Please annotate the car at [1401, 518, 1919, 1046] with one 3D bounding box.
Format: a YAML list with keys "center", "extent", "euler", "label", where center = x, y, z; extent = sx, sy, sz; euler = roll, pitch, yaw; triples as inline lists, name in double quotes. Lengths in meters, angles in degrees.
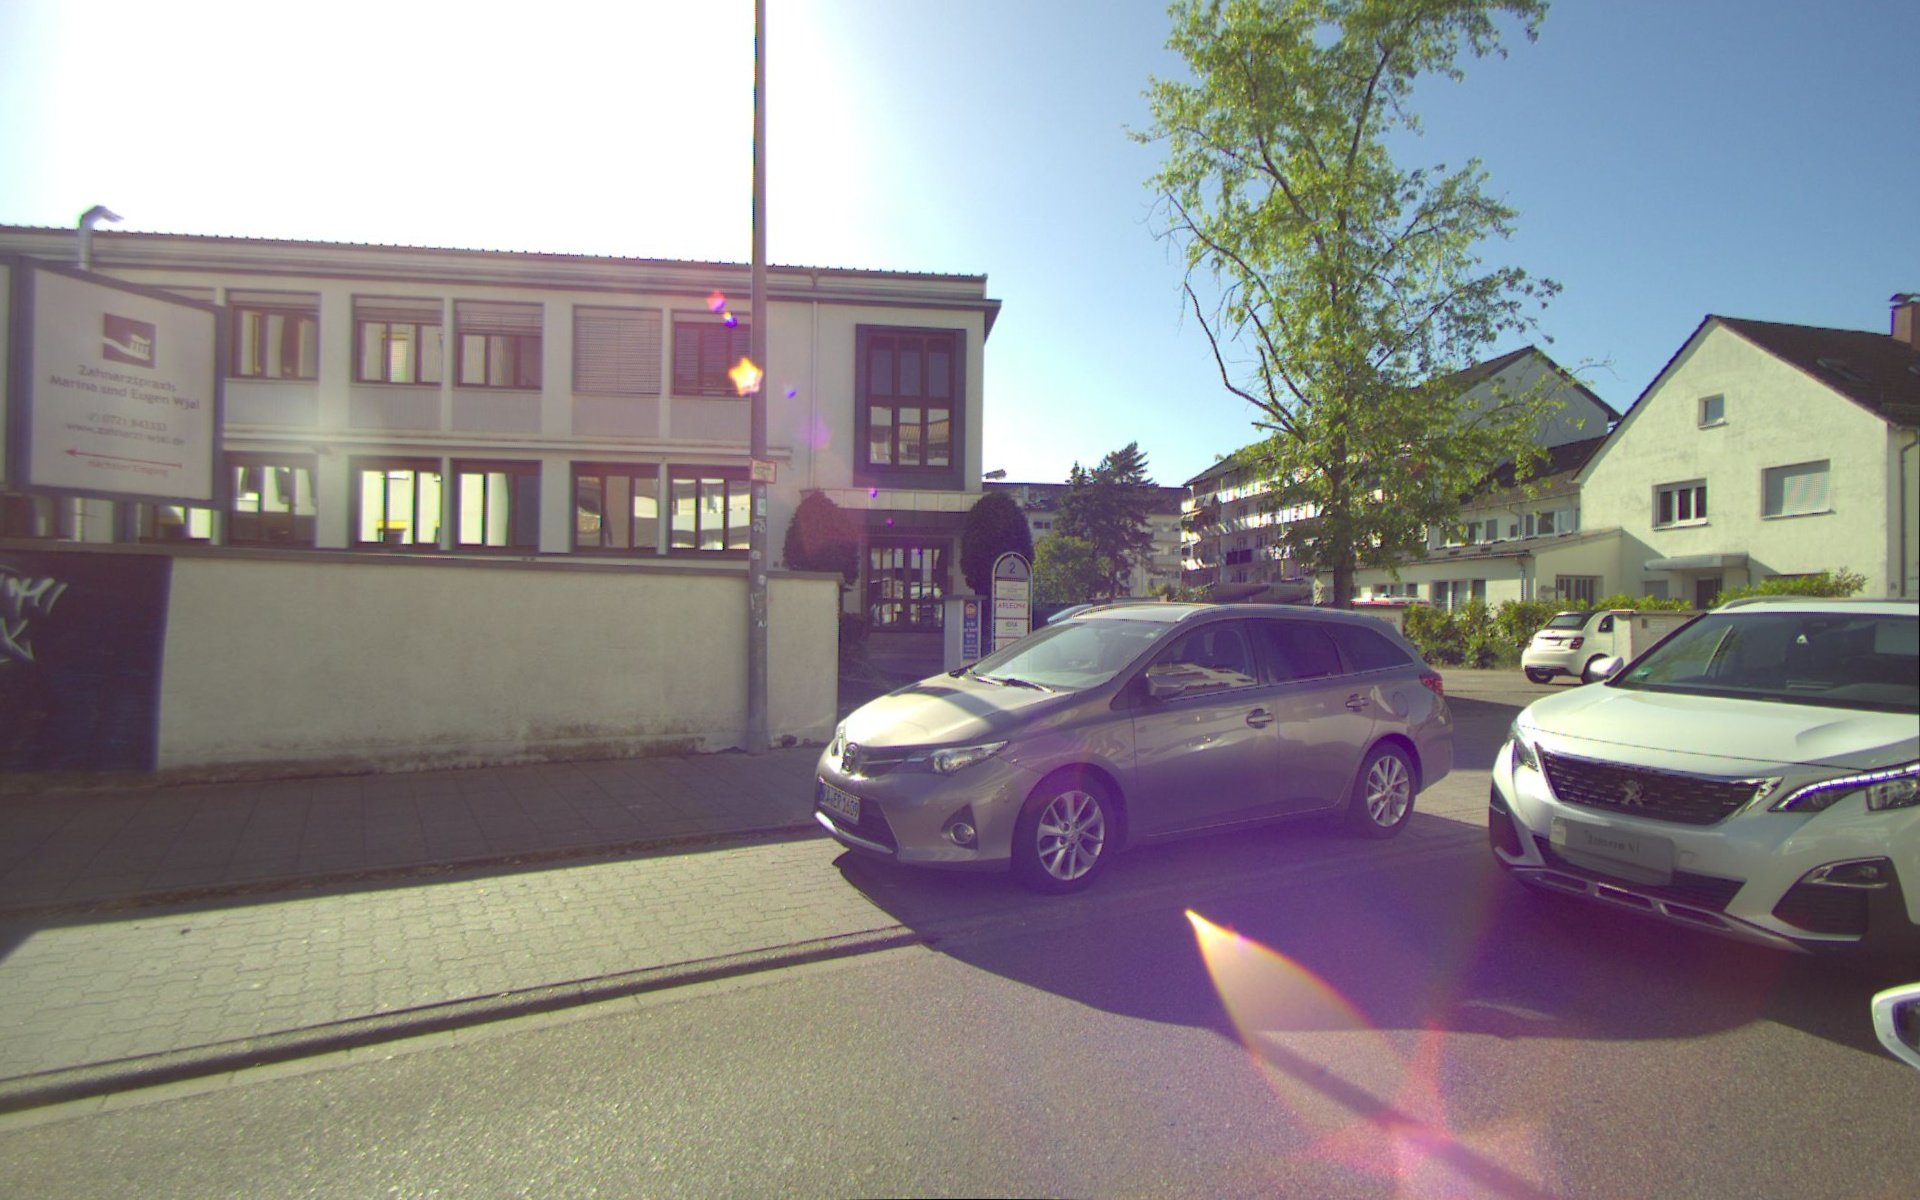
- center: [4.554, 0.747, 5.208]
  extent: [4.284, 1.747, 1.911]
  euler: [4, -3, -28]
  label: "car"

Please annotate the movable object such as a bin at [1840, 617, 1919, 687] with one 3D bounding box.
- center: [21.095, 1.175, 22.758]
  extent: [1.207, 1.509, 1.283]
  euler: [3, -2, -15]
  label: "movable object such as a bin"

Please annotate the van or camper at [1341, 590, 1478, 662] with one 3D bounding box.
- center: [16.643, 1.024, 37.540]
  extent: [2.111, 2.429, 5.228]
  euler: [2, -3, -9]
  label: "van or camper"

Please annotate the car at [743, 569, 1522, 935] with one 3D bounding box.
- center: [1.286, 0.694, 6.425]
  extent: [4.864, 1.555, 1.982]
  euler: [1, -1, -32]
  label: "car"

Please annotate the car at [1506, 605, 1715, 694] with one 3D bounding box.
- center: [13.141, 1.004, 20.405]
  extent: [3.130, 1.576, 1.804]
  euler: [3, -2, -8]
  label: "car"

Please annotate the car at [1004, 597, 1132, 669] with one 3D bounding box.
- center: [2.540, 0.830, 23.991]
  extent: [2.585, 1.528, 1.735]
  euler: [3, -4, -13]
  label: "car"
